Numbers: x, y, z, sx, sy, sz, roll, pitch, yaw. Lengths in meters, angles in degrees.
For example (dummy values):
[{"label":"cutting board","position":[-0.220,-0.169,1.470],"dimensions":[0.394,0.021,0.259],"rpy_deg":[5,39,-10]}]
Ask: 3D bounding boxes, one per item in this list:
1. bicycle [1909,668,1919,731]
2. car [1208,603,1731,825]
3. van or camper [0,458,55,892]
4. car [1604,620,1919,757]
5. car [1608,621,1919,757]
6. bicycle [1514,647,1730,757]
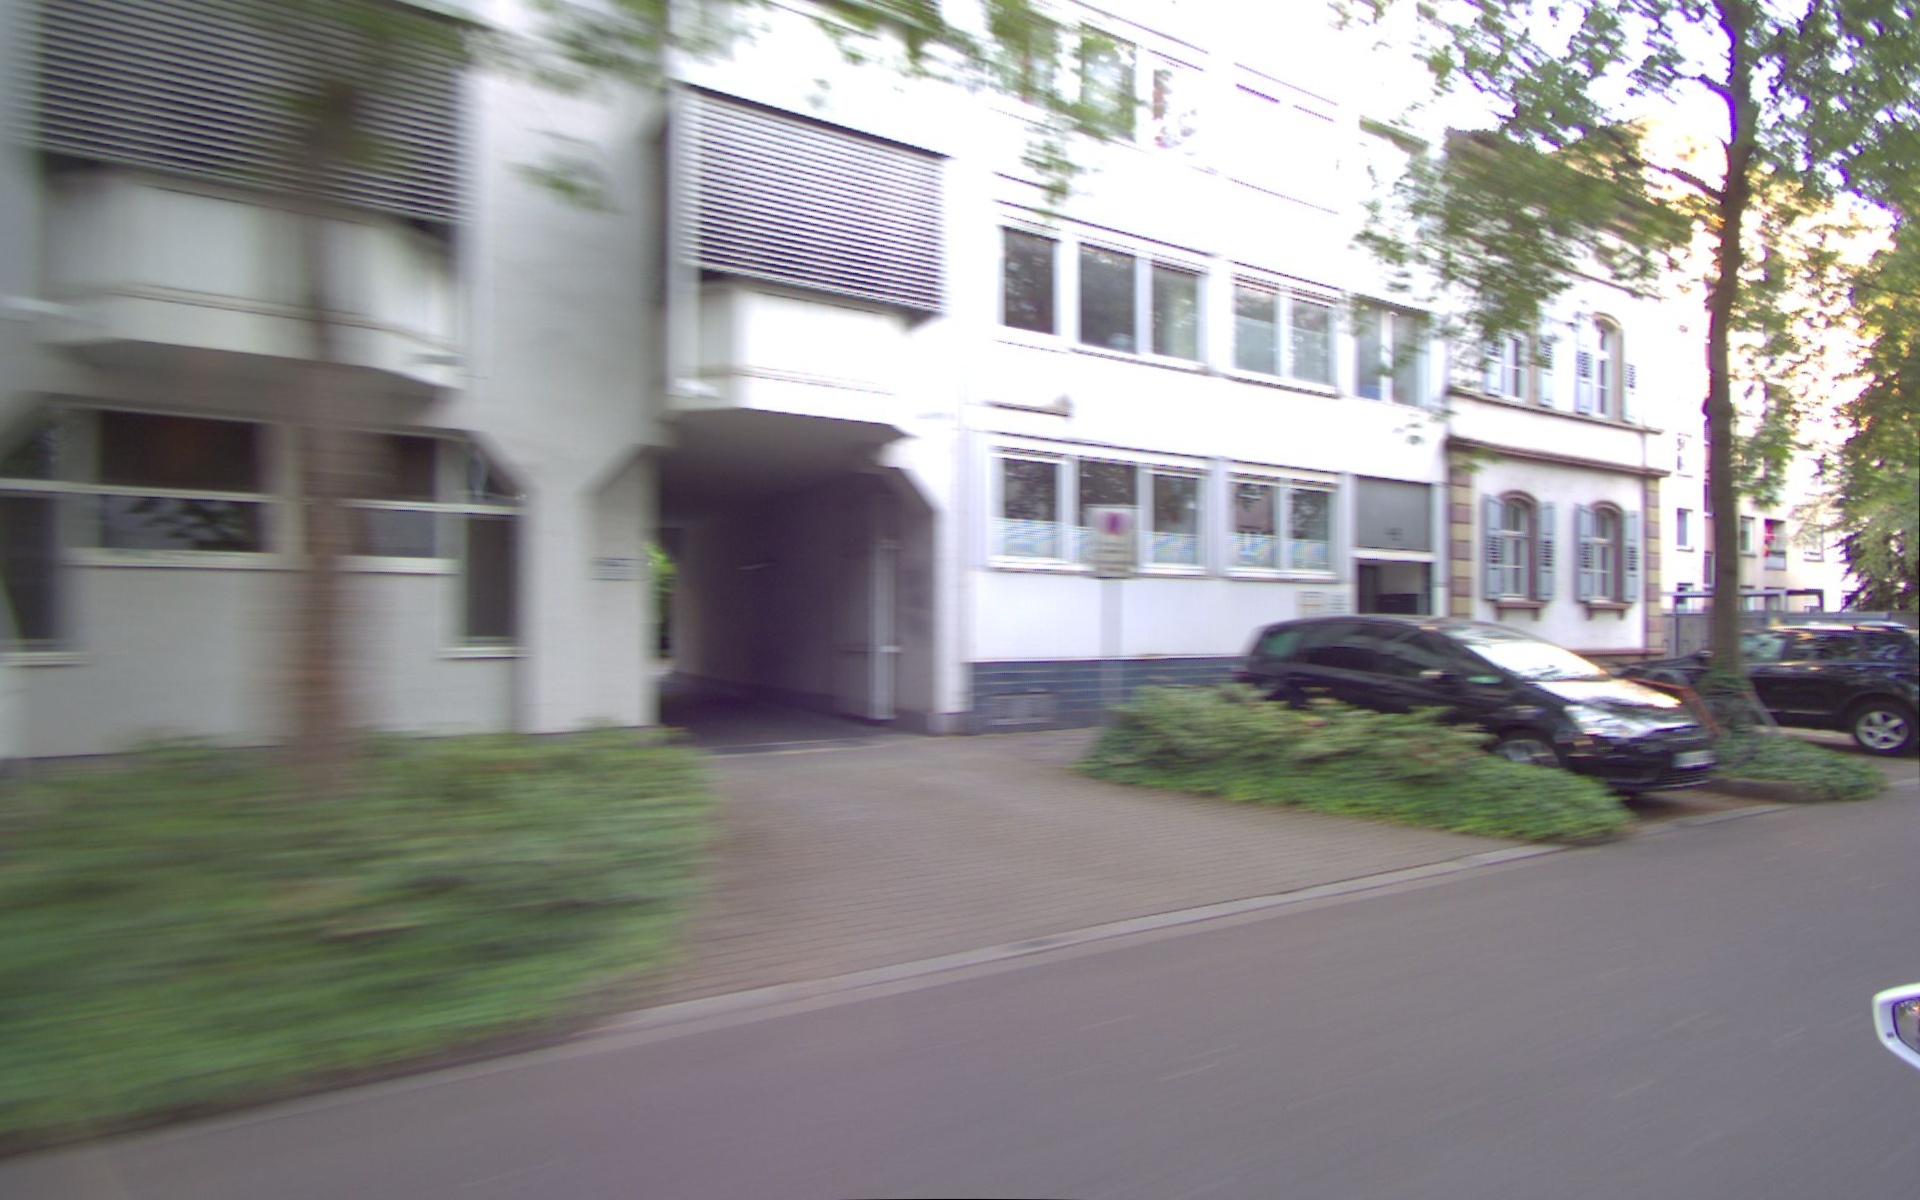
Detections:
[{"label":"bicycle","position":[15.389,1.521,15.122],"dimensions":[1.536,0.949,0.482],"rpy_deg":[-1,-2,37]},{"label":"car","position":[4.734,0.951,10.087],"dimensions":[1.604,1.705,4.509],"rpy_deg":[1,-2,-33]},{"label":"van or camper","position":[-5.562,0.376,3.941],"dimensions":[1.922,2.459,4.796],"rpy_deg":[1,-2,-29]},{"label":"car","position":[11.455,1.101,13.877],"dimensions":[1.768,1.613,3.968],"rpy_deg":[1,-1,-30]},{"label":"car","position":[11.498,1.109,13.838],"dimensions":[1.808,1.609,3.966],"rpy_deg":[1,-1,-32]},{"label":"bicycle","position":[6.945,1.030,10.653],"dimensions":[0.474,1.038,1.892],"rpy_deg":[1,-2,-31]}]
